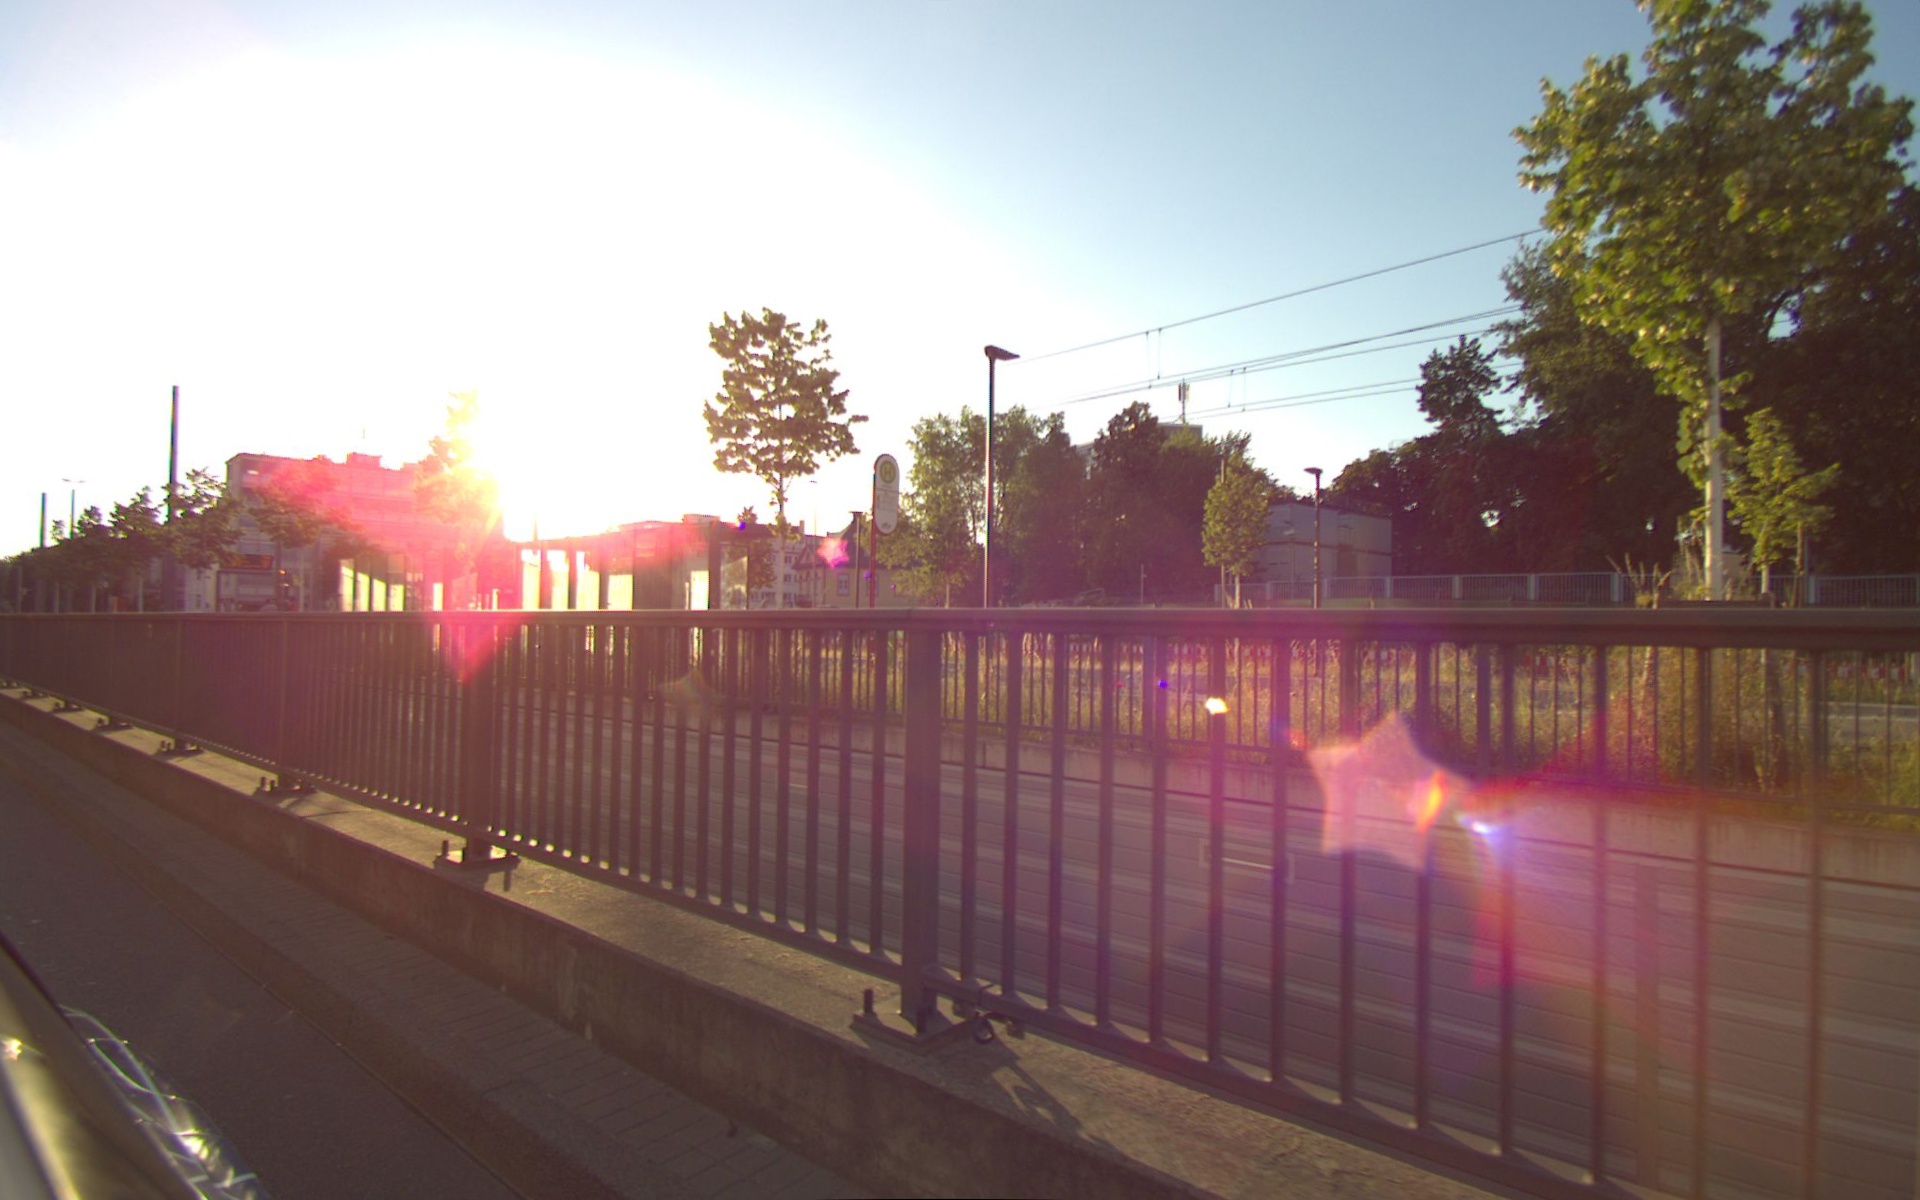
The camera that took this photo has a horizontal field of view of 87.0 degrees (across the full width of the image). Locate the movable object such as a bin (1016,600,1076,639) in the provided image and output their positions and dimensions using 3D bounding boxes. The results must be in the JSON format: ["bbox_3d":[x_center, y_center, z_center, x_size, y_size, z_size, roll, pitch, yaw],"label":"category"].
[{"bbox_3d":[6.243,1.418,73.363,4.000,2.727,1.971,-1,-2,43],"label":"movable object such as a bin"}]

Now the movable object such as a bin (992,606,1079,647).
[{"bbox_3d":[4.332,1.543,58.968,4.939,2.263,1.971,-1,-2,43],"label":"movable object such as a bin"}]

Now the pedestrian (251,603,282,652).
[{"bbox_3d":[-25.275,0.994,36.898,0.634,1.758,0.719,-2,-2,33],"label":"pedestrian"}]

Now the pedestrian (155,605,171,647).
[{"bbox_3d":[-34.213,1.122,43.428,0.465,1.800,0.627,2,-2,-42],"label":"pedestrian"}]

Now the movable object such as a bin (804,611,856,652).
[{"bbox_3d":[-9.070,2.185,70.397,1.967,2.727,4.009,1,-2,-36],"label":"movable object such as a bin"}]

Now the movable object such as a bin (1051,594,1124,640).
[{"bbox_3d":[7.746,1.068,61.656,4.000,2.727,1.971,-1,-2,43],"label":"movable object such as a bin"}]

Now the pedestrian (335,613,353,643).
[{"bbox_3d":[-37.626,1.702,61.810,0.816,1.812,0.687,-1,-2,41],"label":"pedestrian"}]

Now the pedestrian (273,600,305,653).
[{"bbox_3d":[-22.215,0.887,33.493,0.633,1.742,0.630,-1,-3,28],"label":"pedestrian"}]
